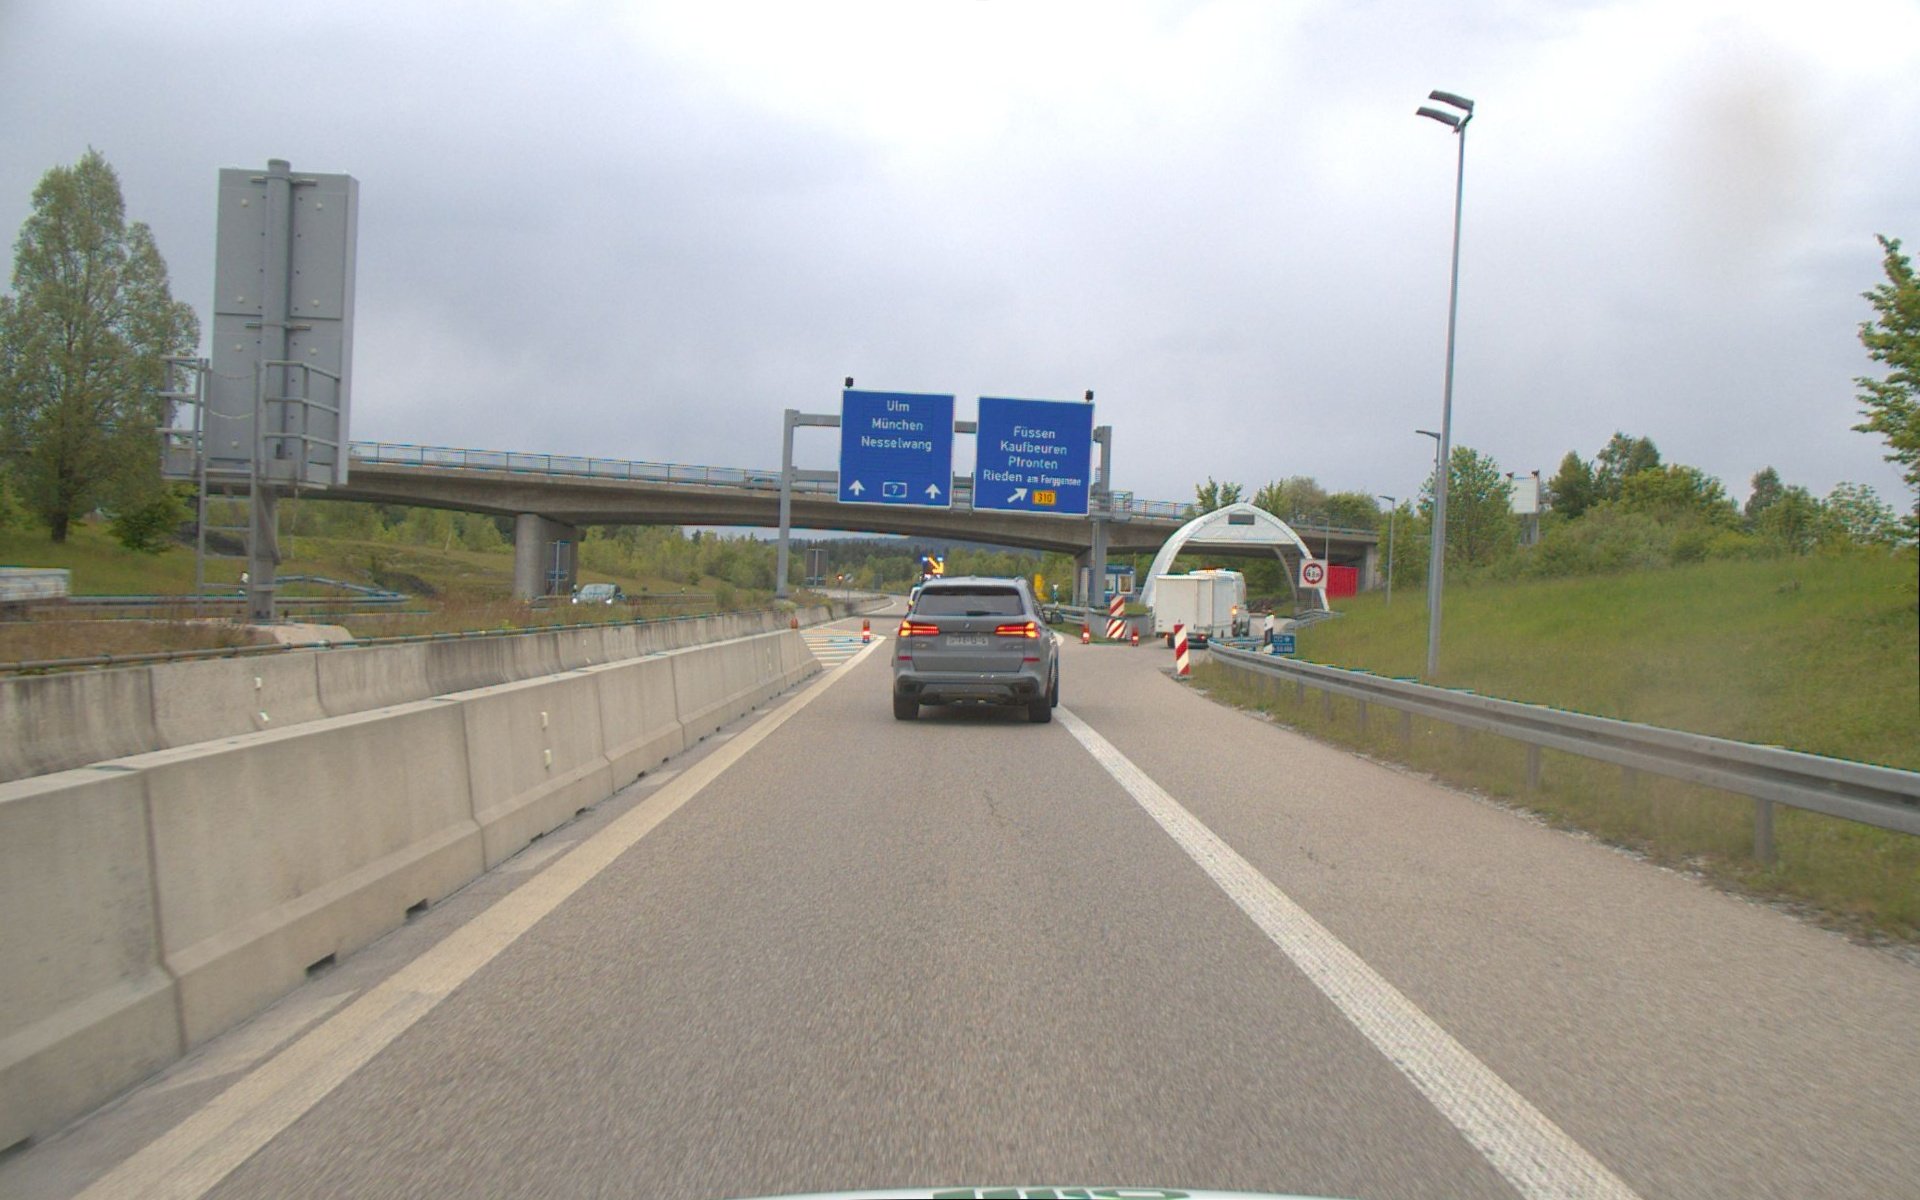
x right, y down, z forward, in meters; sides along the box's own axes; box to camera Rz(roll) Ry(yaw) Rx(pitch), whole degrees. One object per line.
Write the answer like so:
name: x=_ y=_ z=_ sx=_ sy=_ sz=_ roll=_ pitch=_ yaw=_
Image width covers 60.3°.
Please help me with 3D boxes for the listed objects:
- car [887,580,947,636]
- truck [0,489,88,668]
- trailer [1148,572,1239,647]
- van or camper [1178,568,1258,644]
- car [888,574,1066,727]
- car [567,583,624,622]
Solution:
car: x=-1.709 y=0.261 z=64.824 sx=2.240 sy=2.049 sz=5.048 roll=1 pitch=1 yaw=-2
truck: x=-14.656 y=-0.328 z=22.624 sx=2.309 sy=2.522 sz=5.987 roll=2 pitch=0 yaw=-1
trailer: x=8.416 y=0.349 z=59.067 sx=2.231 sy=2.473 sz=6.821 roll=1 pitch=0 yaw=16
van or camper: x=10.214 y=0.253 z=65.131 sx=2.112 sy=2.812 sz=5.873 roll=1 pitch=0 yaw=19
car: x=0.317 y=0.580 z=21.260 sx=1.951 sy=1.749 sz=4.002 roll=1 pitch=0 yaw=5
car: x=-15.078 y=0.109 z=68.574 sx=1.575 sy=1.527 sz=3.837 roll=2 pitch=0 yaw=-1
